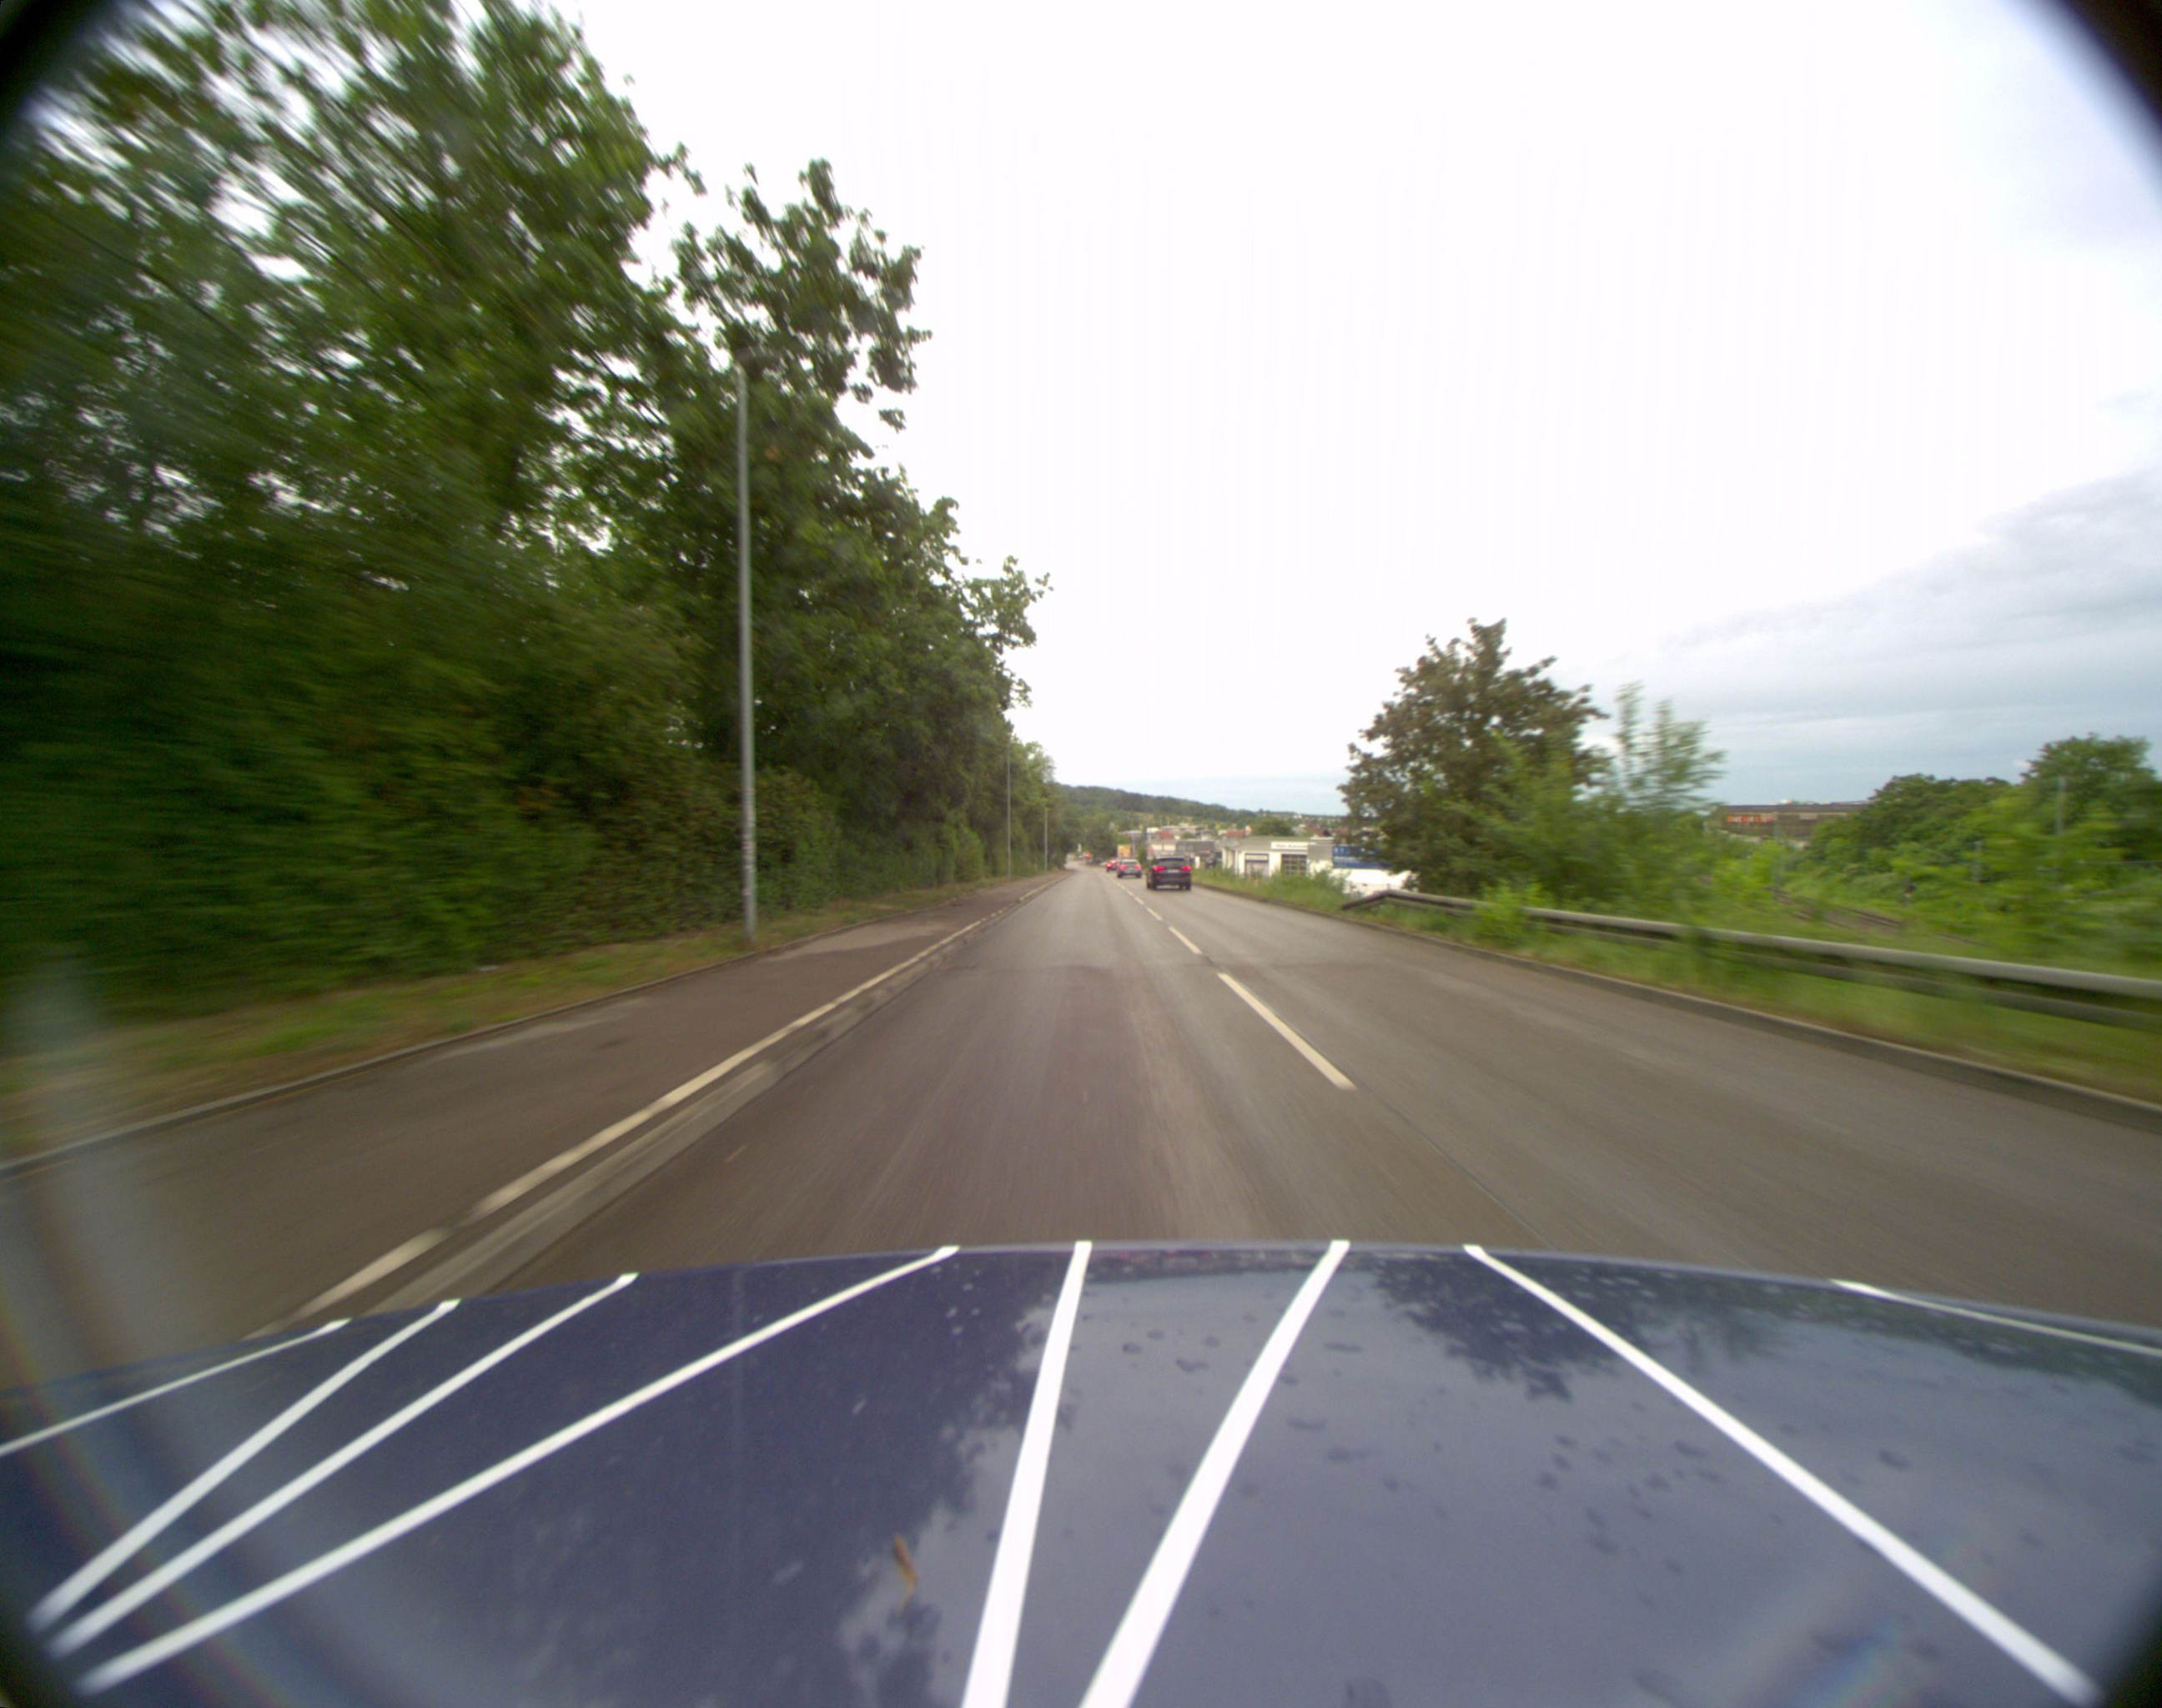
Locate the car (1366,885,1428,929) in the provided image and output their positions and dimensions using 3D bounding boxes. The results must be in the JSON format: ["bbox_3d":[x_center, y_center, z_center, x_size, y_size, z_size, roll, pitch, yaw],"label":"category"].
[{"bbox_3d":[15.009,2.469,36.392,1.986,1.681,4.935,5,0,15],"label":"car"}]

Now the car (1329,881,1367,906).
[{"bbox_3d":[22.115,3.285,62.793,1.861,1.793,4.653,5,0,32],"label":"car"}]

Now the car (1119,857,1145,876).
[{"bbox_3d":[4.249,1.022,63.510,1.866,1.495,4.728,-1,0,0],"label":"car"}]

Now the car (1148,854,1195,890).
[{"bbox_3d":[4.214,0.805,35.926,1.734,1.576,4.080,-1,0,0],"label":"car"}]

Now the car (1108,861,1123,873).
[{"bbox_3d":[4.768,1.788,106.841,1.873,1.576,4.414,-2,0,0],"label":"car"}]
